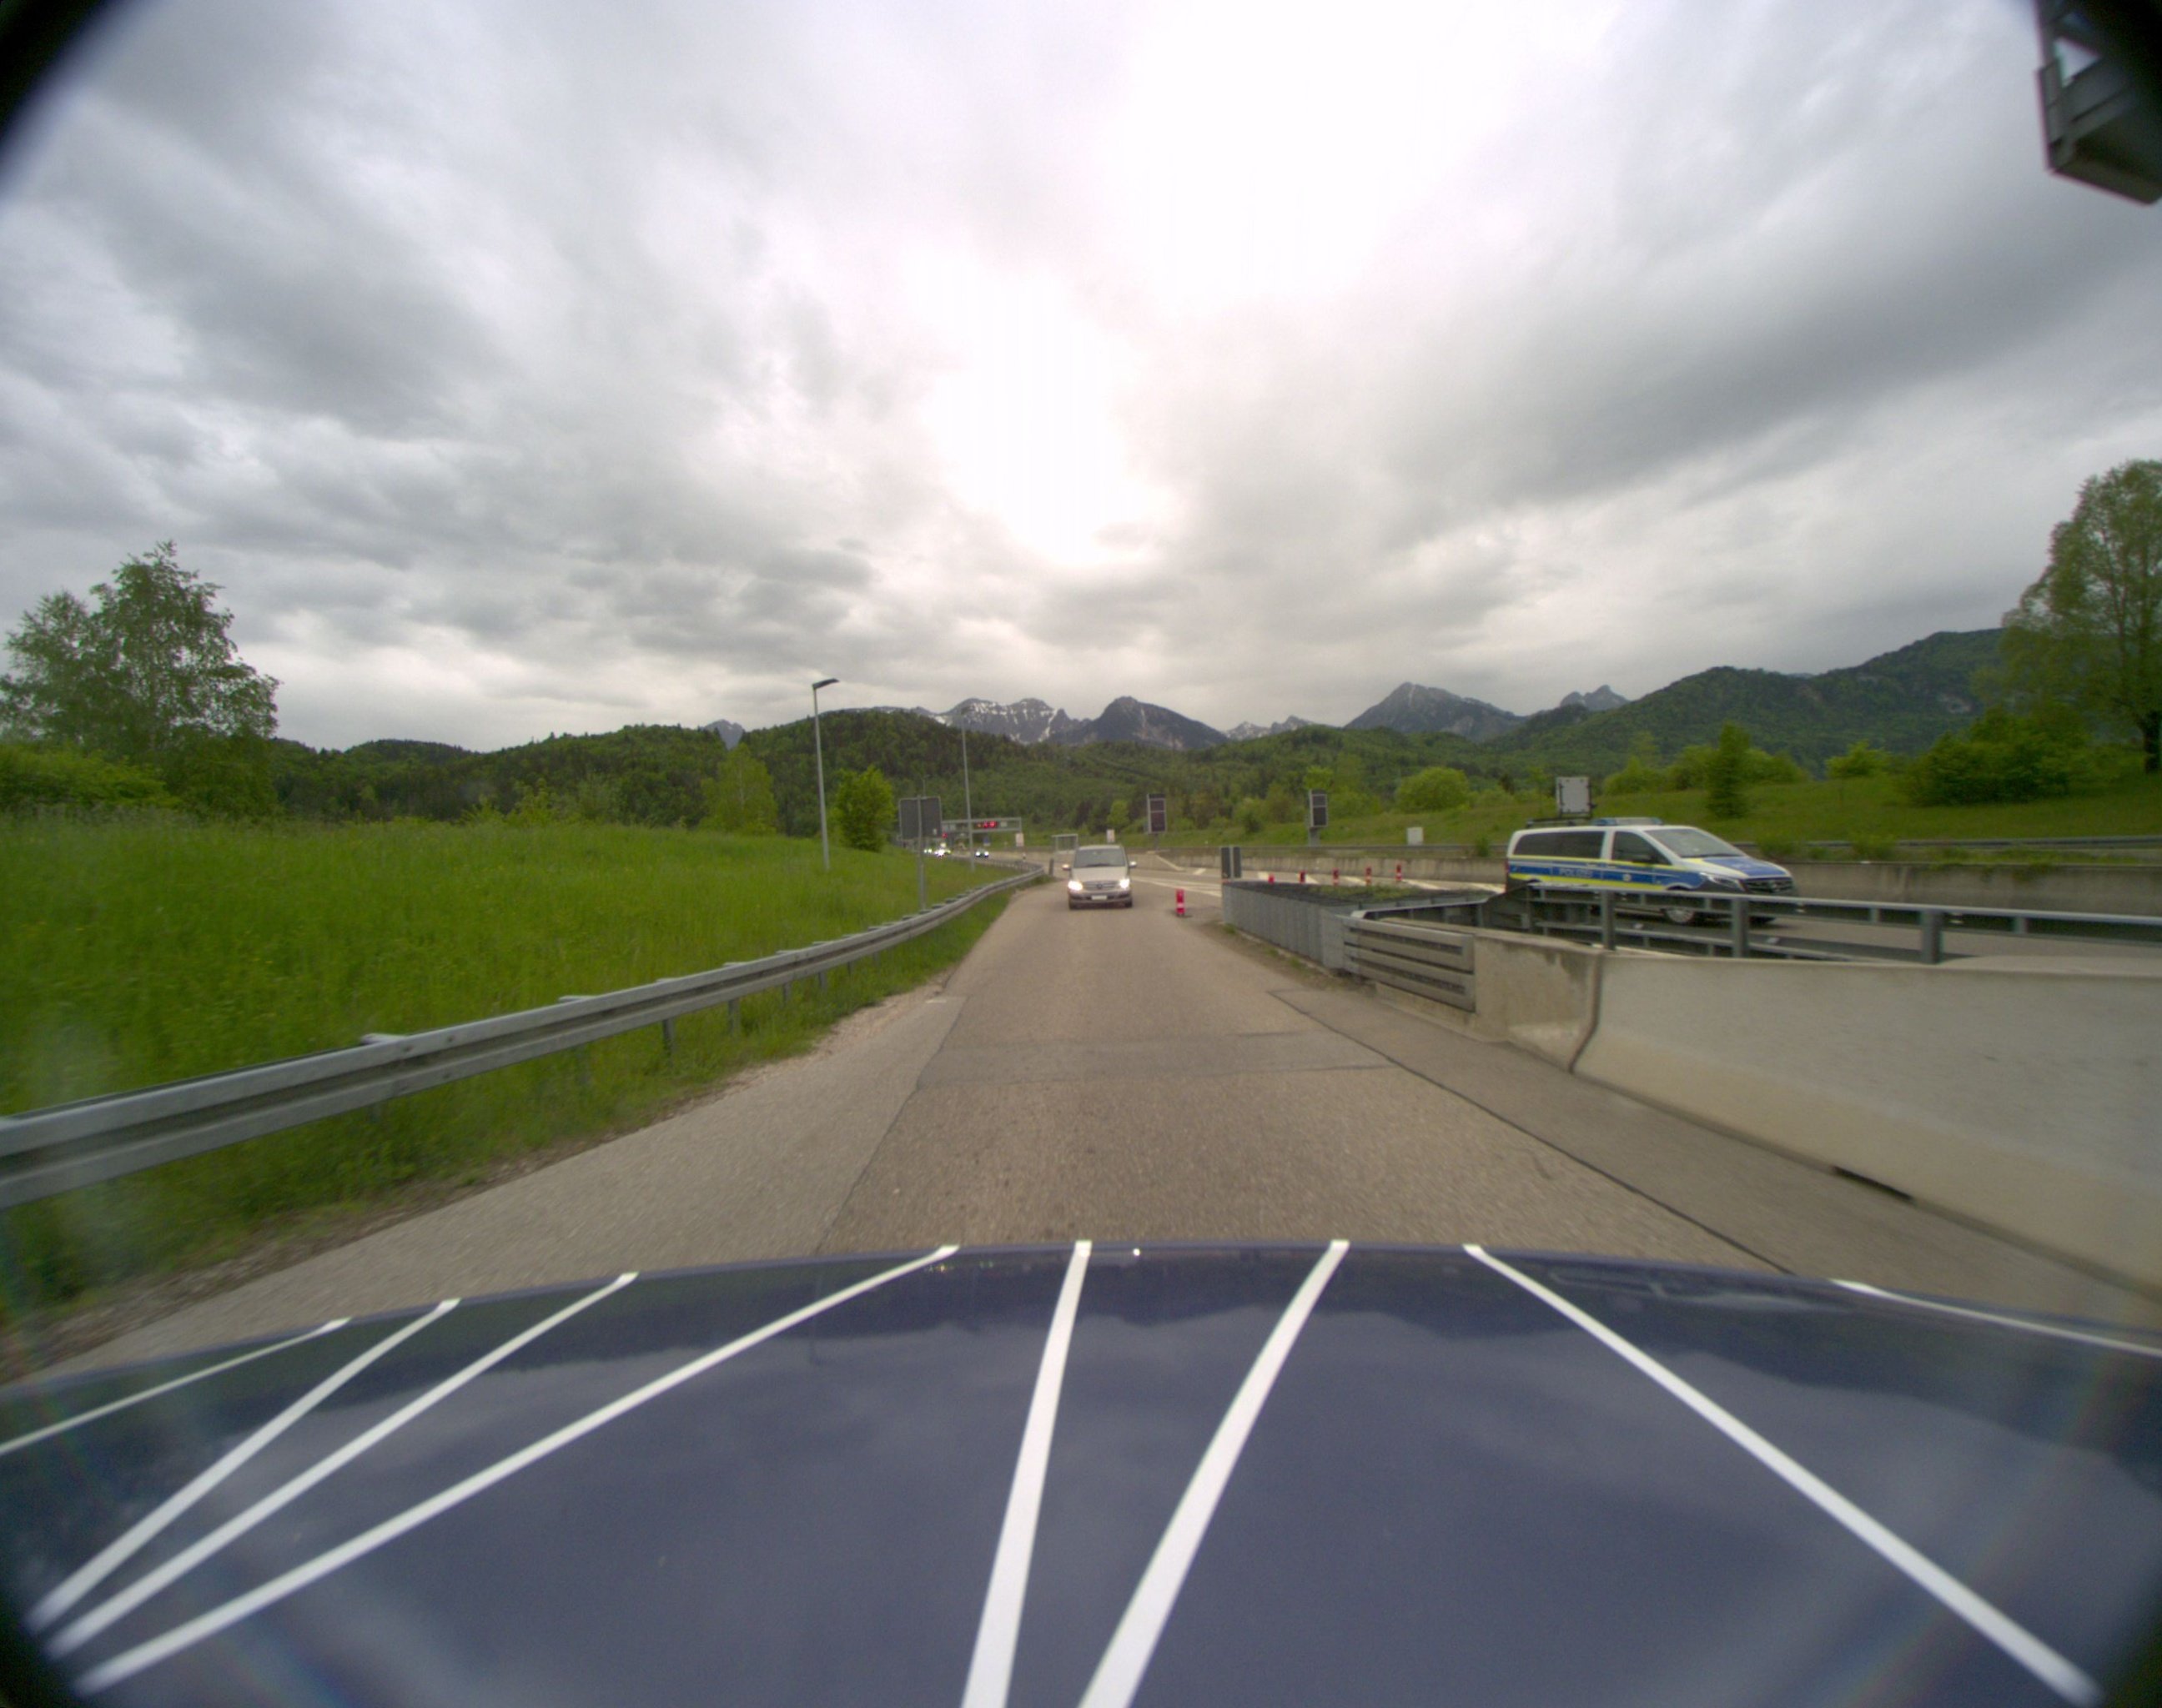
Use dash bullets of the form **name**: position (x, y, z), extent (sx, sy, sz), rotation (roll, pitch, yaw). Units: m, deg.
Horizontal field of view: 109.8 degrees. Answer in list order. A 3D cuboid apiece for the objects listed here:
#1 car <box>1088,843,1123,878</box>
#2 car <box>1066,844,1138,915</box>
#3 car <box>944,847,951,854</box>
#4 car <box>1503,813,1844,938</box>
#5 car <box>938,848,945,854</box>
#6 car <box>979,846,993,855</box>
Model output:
- **car**: position (1.304, 0.324, 41.512), extent (1.756, 1.795, 4.000), rotation (-2, 1, 1)
- **car**: position (0.531, 0.666, 23.490), extent (1.923, 1.871, 5.137), rotation (-2, 1, -1)
- **car**: position (-33.397, -0.936, 190.236), extent (1.632, 1.688, 3.492), rotation (-2, 1, -10)
- **car**: position (11.351, 0.314, 15.177), extent (2.294, 2.002, 5.043), rotation (-2, 1, -14)
- **car**: position (-39.941, -0.770, 217.609), extent (1.632, 1.688, 3.492), rotation (-2, 1, -10)
- **car**: position (-14.730, -0.523, 117.981), extent (1.665, 1.329, 3.787), rotation (-2, 1, -14)
